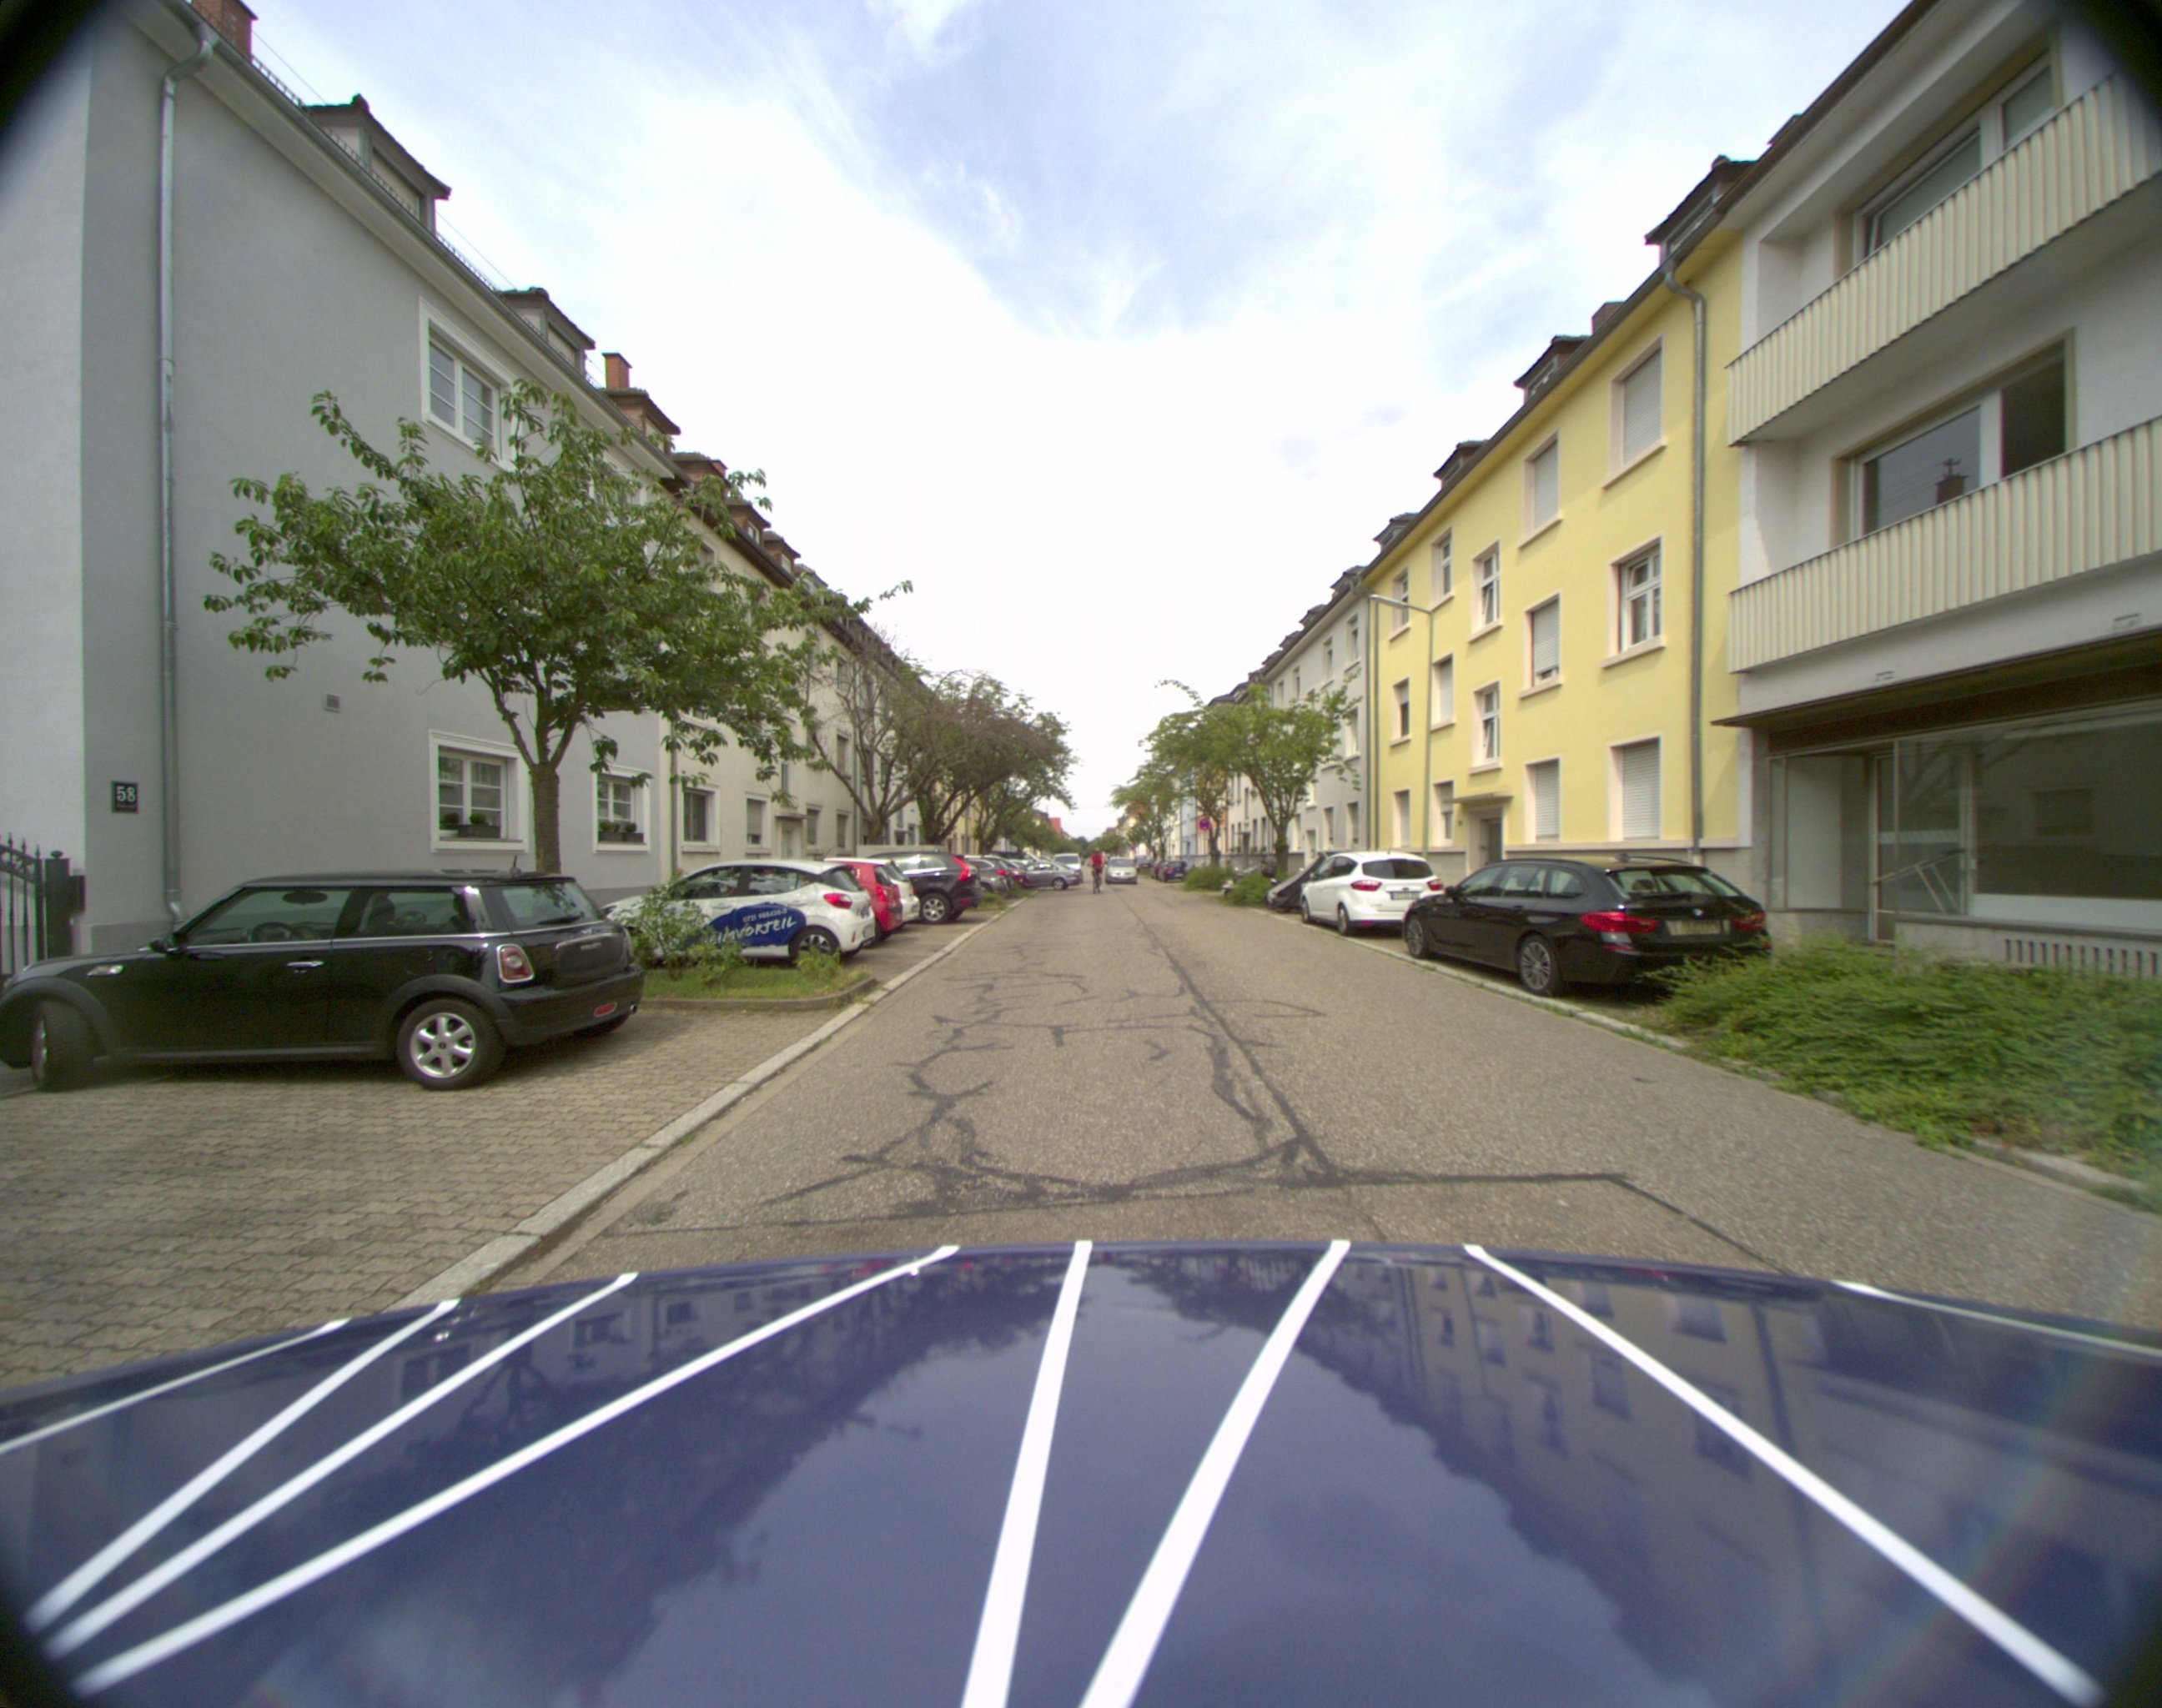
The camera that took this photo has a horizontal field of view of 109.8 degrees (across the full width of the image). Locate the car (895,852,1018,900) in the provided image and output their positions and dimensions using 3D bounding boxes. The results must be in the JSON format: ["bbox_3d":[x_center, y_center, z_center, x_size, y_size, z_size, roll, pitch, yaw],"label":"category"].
[{"bbox_3d":[-4.531,0.788,28.114,4.226,1.588,1.903,2,0,-1],"label":"car"}]

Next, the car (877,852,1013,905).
[{"bbox_3d":[-4.501,0.797,25.585,4.226,1.588,1.903,2,0,-2],"label":"car"}]

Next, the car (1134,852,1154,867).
[{"bbox_3d":[6.799,0.590,82.002,1.697,1.573,4.248,-1,0,-1],"label":"car"}]

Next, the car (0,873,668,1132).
[{"bbox_3d":[-5.313,0.935,5.567,3.552,1.444,1.809,2,0,0],"label":"car"}]

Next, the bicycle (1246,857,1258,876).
[{"bbox_3d":[8.853,0.638,39.424,0.310,0.961,1.434,2,0,2],"label":"bicycle"}]

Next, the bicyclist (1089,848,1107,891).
[{"bbox_3d":[0.712,0.634,31.995,0.694,1.760,0.986,-1,1,0],"label":"bicyclist"}]

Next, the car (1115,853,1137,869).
[{"bbox_3d":[4.600,0.733,78.410,1.841,1.475,4.120,-3,0,-1],"label":"car"}]

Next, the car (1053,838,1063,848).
[{"bbox_3d":[-4.015,-1.914,132.979,1.646,1.666,3.443,-1,0,0],"label":"car"}]

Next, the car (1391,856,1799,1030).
[{"bbox_3d":[5.623,0.817,9.274,1.795,1.483,4.812,-1,1,1],"label":"car"}]

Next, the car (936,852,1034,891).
[{"bbox_3d":[-4.422,0.782,35.473,4.224,1.668,1.904,2,0,3],"label":"car"}]

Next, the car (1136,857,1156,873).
[{"bbox_3d":[6.465,1.082,75.526,1.706,1.533,4.249,1,0,2],"label":"car"}]

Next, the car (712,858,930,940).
[{"bbox_3d":[-5.181,0.867,15.518,3.756,1.433,1.865,2,0,2],"label":"car"}]

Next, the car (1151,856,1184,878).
[{"bbox_3d":[6.318,0.945,55.765,1.841,1.475,4.093,-2,0,-1],"label":"car"}]

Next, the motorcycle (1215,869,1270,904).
[{"bbox_3d":[5.743,1.161,26.997,1.915,1.185,0.595,1,1,-26],"label":"motorcycle"}]

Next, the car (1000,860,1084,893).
[{"bbox_3d":[-1.880,1.090,37.546,3.997,1.446,1.766,2,0,0],"label":"car"}]

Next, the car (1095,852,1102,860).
[{"bbox_3d":[5.131,0.574,221.241,1.757,2.098,3.621,2,0,1],"label":"car"}]

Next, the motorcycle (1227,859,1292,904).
[{"bbox_3d":[6.067,0.928,25.752,2.242,1.473,0.595,1,1,-26],"label":"motorcycle"}]

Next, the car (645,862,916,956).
[{"bbox_3d":[-5.062,0.907,13.235,3.998,1.402,1.767,2,0,-2],"label":"car"}]

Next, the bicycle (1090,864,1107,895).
[{"bbox_3d":[0.718,1.034,31.877,0.693,1.220,1.937,-1,0,1],"label":"bicycle"}]

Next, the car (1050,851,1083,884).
[{"bbox_3d":[-0.931,0.822,49.050,1.999,1.903,4.703,-2,0,-1],"label":"car"}]

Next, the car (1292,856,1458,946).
[{"bbox_3d":[5.721,0.823,15.400,1.761,1.547,4.256,0,0,1],"label":"car"}]

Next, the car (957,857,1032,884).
[{"bbox_3d":[-4.837,0.912,42.919,3.997,1.412,1.638,2,0,0],"label":"car"}]

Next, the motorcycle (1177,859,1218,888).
[{"bbox_3d":[5.796,0.982,37.664,2.022,1.399,0.790,1,1,-37],"label":"motorcycle"}]

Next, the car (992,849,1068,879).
[{"bbox_3d":[-3.640,0.713,54.566,5.244,2.011,2.073,2,0,-3],"label":"car"}]

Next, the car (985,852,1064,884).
[{"bbox_3d":[-2.940,0.738,40.152,3.997,1.527,1.638,2,0,0],"label":"car"}]

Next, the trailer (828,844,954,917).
[{"bbox_3d":[-5.069,0.679,20.452,2.967,1.821,1.401,2,1,4],"label":"trailer"}]

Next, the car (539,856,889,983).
[{"bbox_3d":[-4.917,0.851,10.622,3.998,1.521,1.767,2,0,-2],"label":"car"}]

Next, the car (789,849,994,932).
[{"bbox_3d":[-4.326,0.803,17.787,4.224,1.725,1.904,2,0,3],"label":"car"}]

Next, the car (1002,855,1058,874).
[{"bbox_3d":[-4.234,0.882,63.924,4.559,1.501,1.850,2,0,-1],"label":"car"}]

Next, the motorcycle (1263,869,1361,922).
[{"bbox_3d":[6.265,1.108,20.655,2.450,1.303,0.644,2,1,22],"label":"motorcycle"}]

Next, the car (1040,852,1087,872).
[{"bbox_3d":[-1.741,0.800,78.149,4.750,1.899,1.850,2,0,0],"label":"car"}]

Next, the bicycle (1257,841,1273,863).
[{"bbox_3d":[8.591,-0.077,35.491,0.421,1.001,1.434,2,0,2],"label":"bicycle"}]

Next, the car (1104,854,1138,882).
[{"bbox_3d":[2.373,0.832,46.044,1.788,1.595,4.836,0,0,0],"label":"car"}]

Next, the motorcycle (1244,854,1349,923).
[{"bbox_3d":[5.502,0.832,19.531,0.941,1.666,2.467,0,0,-43],"label":"motorcycle"}]
